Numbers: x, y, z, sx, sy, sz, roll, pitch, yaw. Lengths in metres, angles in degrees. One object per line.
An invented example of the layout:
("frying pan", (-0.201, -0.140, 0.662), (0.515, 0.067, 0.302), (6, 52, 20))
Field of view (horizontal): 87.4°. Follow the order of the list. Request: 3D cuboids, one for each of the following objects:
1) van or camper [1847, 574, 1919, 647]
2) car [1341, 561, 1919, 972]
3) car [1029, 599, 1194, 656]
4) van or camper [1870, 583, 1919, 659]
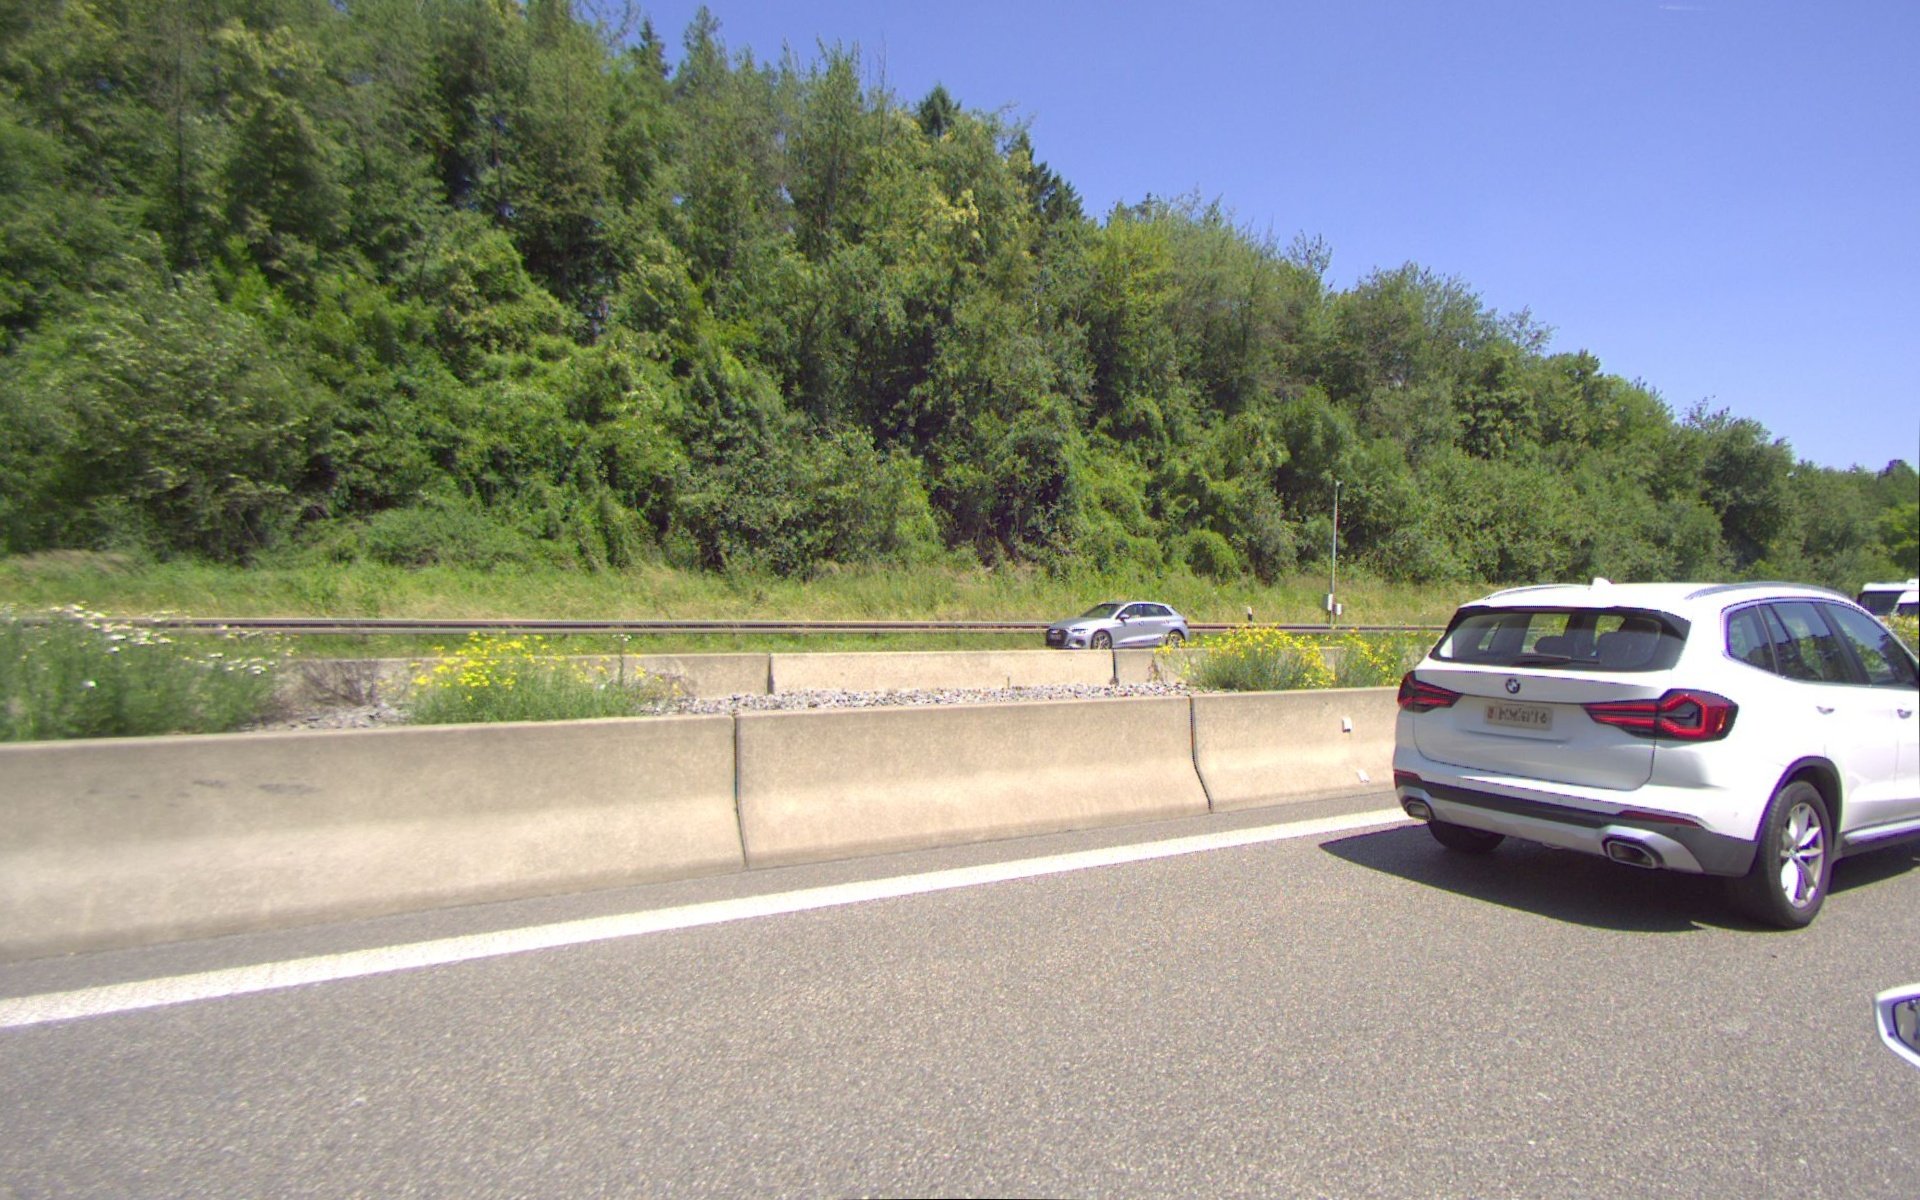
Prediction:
("van or camper", (47.690, 0.627, 50.180), (8.902, 3.361, 2.526), (2, -1, -32))
("car", (4.770, 0.748, 6.269), (4.899, 1.717, 1.855), (1, -1, -31))
("car", (4.163, 0.731, 27.460), (4.143, 1.451, 1.984), (1, 0, -31))
("van or camper", (39.723, 0.873, 40.838), (6.481, 2.938, 2.246), (1, 0, -31))
